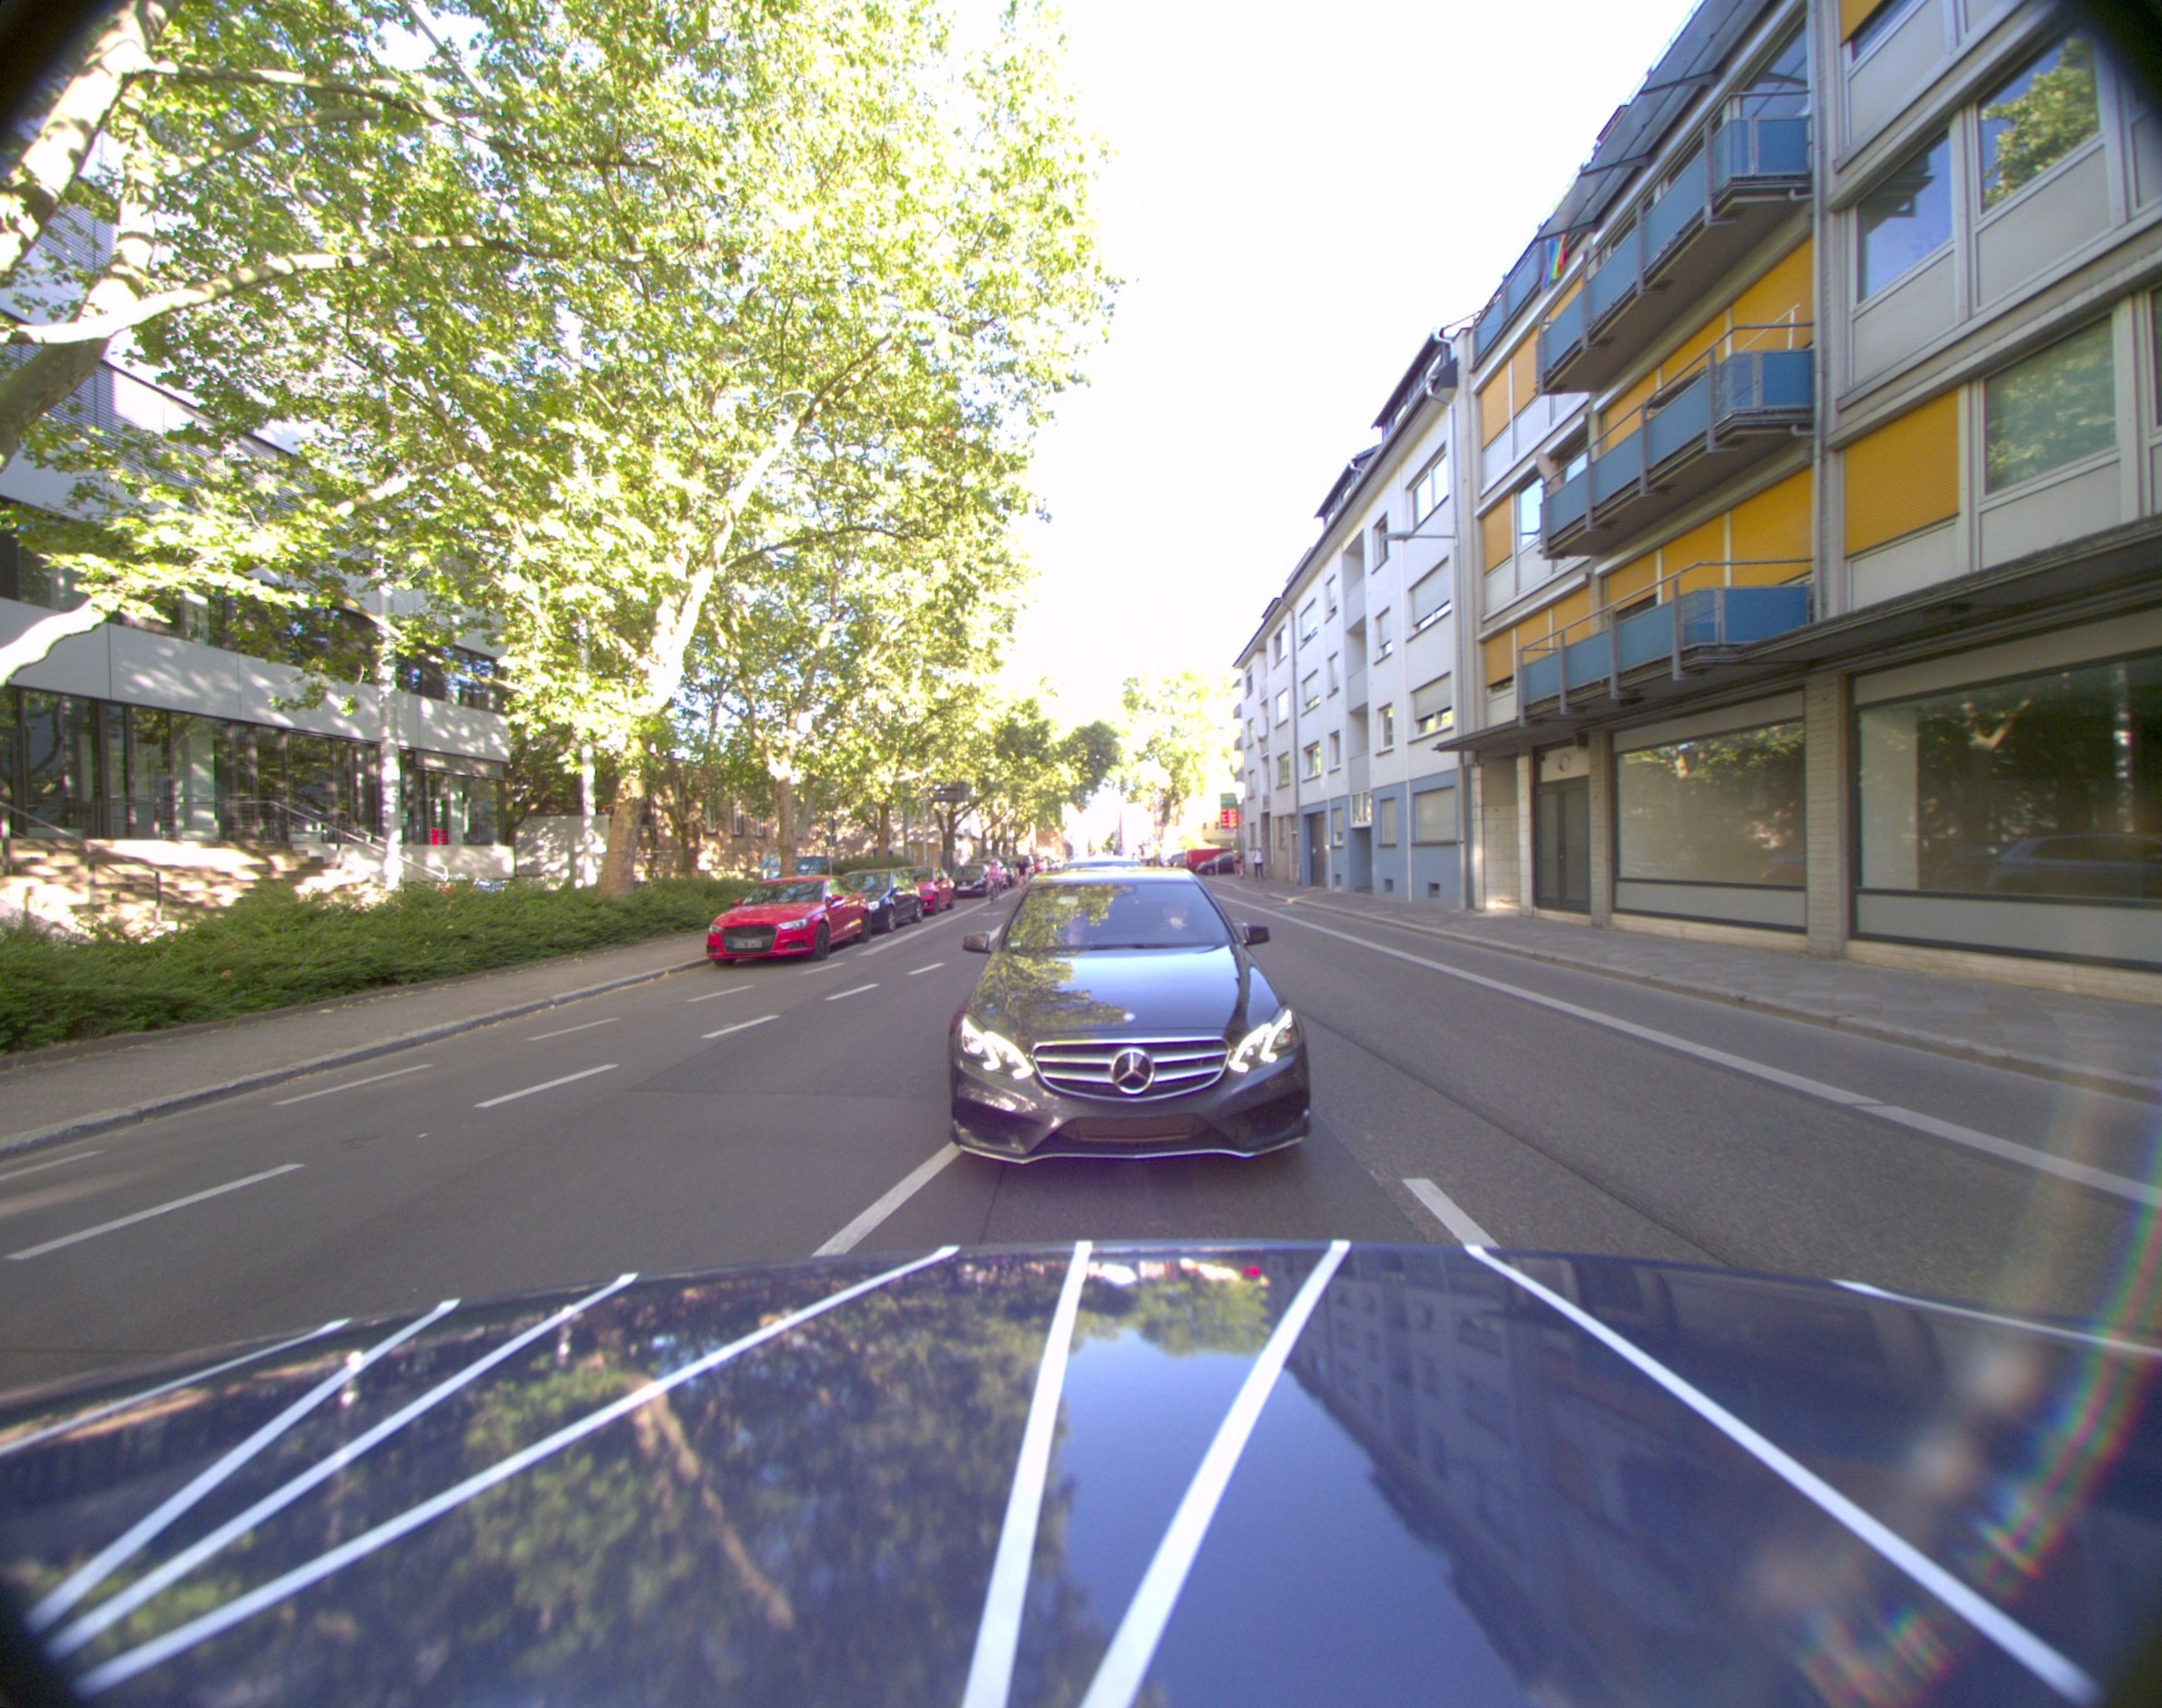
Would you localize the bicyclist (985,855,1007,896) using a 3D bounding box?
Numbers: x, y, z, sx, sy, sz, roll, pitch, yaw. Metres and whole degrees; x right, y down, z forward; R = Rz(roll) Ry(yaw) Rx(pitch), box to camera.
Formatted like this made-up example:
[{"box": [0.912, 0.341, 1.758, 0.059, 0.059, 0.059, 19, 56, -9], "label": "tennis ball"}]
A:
[{"box": [-3.055, 0.771, 27.258, 0.650, 1.427, 0.741, -2, 1, 1], "label": "bicyclist"}]

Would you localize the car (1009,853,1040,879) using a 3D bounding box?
[{"box": [-4.099, 0.825, 55.748, 1.755, 1.753, 4.447, -3, 0, 1], "label": "car"}]

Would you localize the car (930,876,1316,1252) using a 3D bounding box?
[{"box": [0.212, 0.987, 5.350, 1.667, 1.499, 4.000, -1, 0, 1], "label": "car"}]

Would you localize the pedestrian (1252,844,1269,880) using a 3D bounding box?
[{"box": [8.784, 0.383, 37.179, 0.608, 1.737, 0.756, -2, 1, 1], "label": "pedestrian"}]

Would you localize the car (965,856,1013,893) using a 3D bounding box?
[{"box": [-4.561, 0.979, 38.256, 1.755, 1.644, 4.174, -3, 0, 1], "label": "car"}]

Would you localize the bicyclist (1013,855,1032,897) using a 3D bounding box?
[{"box": [-2.046, 0.756, 26.656, 0.581, 1.424, 0.741, -2, 1, 1], "label": "bicyclist"}]

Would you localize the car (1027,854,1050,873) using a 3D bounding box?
[{"box": [-3.999, 0.906, 72.168, 1.755, 1.652, 4.447, -3, 0, 1], "label": "car"}]

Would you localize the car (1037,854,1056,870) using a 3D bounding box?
[{"box": [-3.772, 0.873, 83.507, 1.755, 1.652, 4.447, -3, 0, 1], "label": "car"}]

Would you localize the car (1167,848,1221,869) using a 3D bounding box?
[{"box": [11.276, 0.407, 76.213, 5.054, 1.926, 2.161, -2, 0, 1], "label": "car"}]

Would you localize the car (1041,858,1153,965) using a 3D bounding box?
[{"box": [0.271, 0.889, 13.602, 1.667, 1.563, 4.000, -1, 0, 1], "label": "car"}]

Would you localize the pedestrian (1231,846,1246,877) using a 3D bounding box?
[{"box": [8.615, 0.405, 41.615, 0.604, 1.632, 0.842, -2, 1, 1], "label": "pedestrian"}]

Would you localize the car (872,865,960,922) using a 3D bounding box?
[{"box": [-5.033, 1.149, 23.648, 1.755, 1.459, 3.909, -3, 0, 1], "label": "car"}]

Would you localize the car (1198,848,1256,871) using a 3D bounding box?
[{"box": [10.916, 0.394, 56.983, 3.997, 1.552, 1.743, -2, 0, 1], "label": "car"}]

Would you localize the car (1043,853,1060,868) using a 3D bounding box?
[{"box": [-3.642, 0.775, 92.997, 1.755, 1.652, 4.447, -3, 0, 1], "label": "car"}]

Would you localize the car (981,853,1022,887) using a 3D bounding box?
[{"box": [-4.551, 0.874, 44.055, 1.755, 1.810, 4.447, -3, 0, 1], "label": "car"}]

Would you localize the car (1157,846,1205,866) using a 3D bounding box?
[{"box": [11.194, 0.203, 85.513, 5.143, 2.135, 2.187, -2, 0, 1], "label": "car"}]

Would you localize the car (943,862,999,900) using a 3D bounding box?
[{"box": [-4.748, 1.121, 33.286, 1.755, 1.424, 3.909, -3, 0, 1], "label": "car"}]

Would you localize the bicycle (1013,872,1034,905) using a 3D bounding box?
[{"box": [-2.032, 1.206, 26.843, 0.574, 1.053, 1.595, -2, 0, 1], "label": "bicycle"}]

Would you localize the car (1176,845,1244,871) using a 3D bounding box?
[{"box": [10.640, 0.297, 63.097, 5.223, 1.969, 2.257, -2, 0, 1], "label": "car"}]

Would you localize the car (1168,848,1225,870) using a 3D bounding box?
[{"box": [11.103, 0.446, 73.513, 5.143, 1.926, 2.187, -2, 0, 1], "label": "car"}]

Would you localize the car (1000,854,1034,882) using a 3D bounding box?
[{"box": [-4.270, 0.883, 50.937, 1.755, 1.718, 4.447, -3, 0, 1], "label": "car"}]

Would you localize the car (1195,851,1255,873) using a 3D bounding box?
[{"box": [10.359, 0.565, 54.773, 3.997, 1.412, 1.743, -2, 0, 1], "label": "car"}]

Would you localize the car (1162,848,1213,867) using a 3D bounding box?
[{"box": [11.327, 0.350, 81.177, 5.042, 1.926, 2.315, -2, 0, 1], "label": "car"}]

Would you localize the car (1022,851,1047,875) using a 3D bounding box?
[{"box": [-3.993, 0.731, 66.382, 1.755, 1.941, 4.447, -3, 0, 1], "label": "car"}]

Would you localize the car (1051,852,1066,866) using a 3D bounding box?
[{"box": [-3.009, 0.652, 103.196, 1.755, 1.652, 4.447, -3, 0, 1], "label": "car"}]

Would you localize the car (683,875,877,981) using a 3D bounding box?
[{"box": [-5.124, 1.185, 13.590, 1.755, 1.400, 4.000, -3, 0, 1], "label": "car"}]

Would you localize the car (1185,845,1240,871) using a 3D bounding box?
[{"box": [10.334, 0.303, 60.072, 3.997, 1.926, 1.867, -2, 0, 1], "label": "car"}]

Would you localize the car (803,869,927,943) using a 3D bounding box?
[{"box": [-5.084, 1.176, 18.436, 1.755, 1.424, 3.909, -3, 0, 1], "label": "car"}]

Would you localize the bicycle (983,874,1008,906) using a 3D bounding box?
[{"box": [-3.039, 1.263, 27.190, 0.650, 1.053, 1.595, -2, 0, 1], "label": "bicycle"}]

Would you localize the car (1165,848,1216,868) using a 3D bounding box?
[{"box": [11.291, 0.375, 78.711, 4.991, 1.926, 2.083, -2, 0, 1], "label": "car"}]
